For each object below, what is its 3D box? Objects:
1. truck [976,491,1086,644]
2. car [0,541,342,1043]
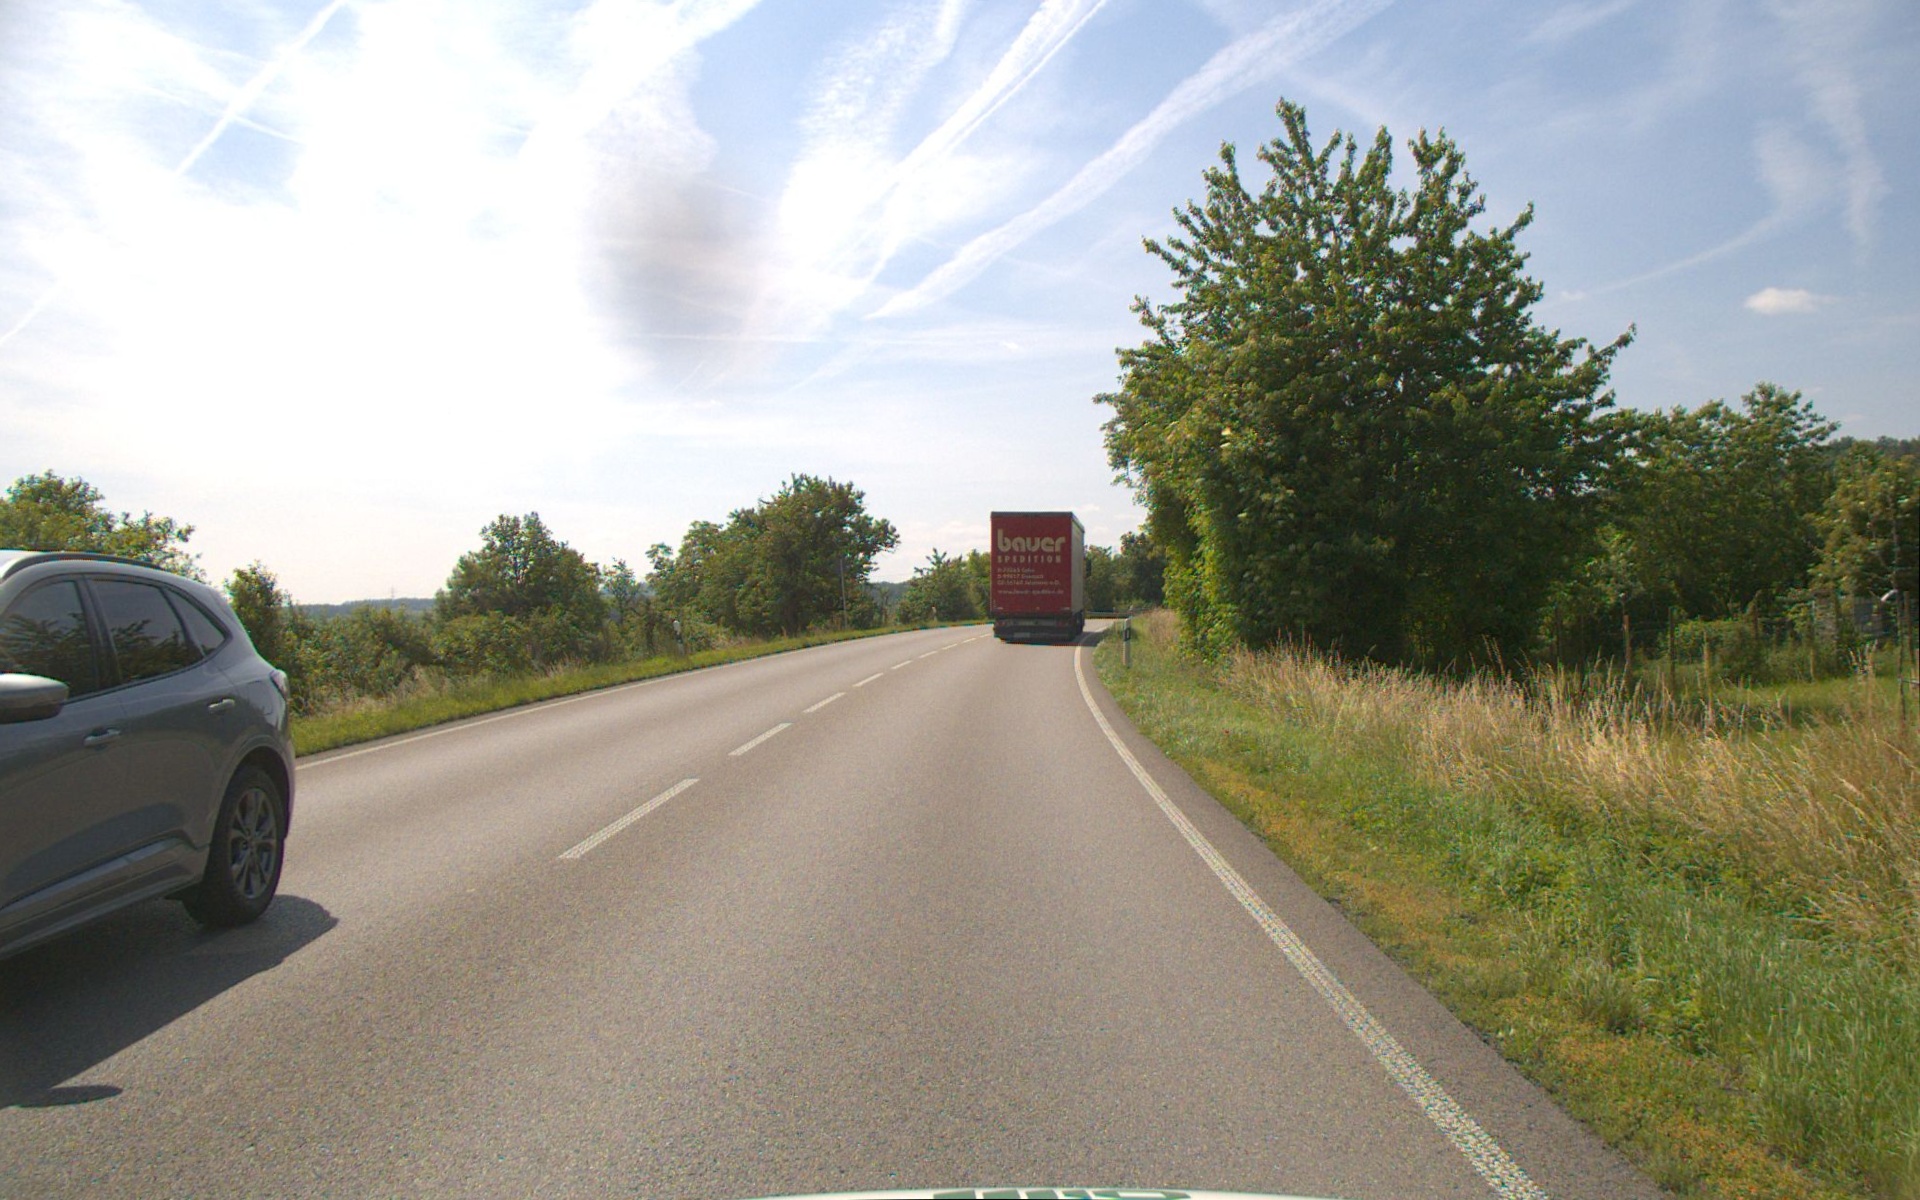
[{"bbox_3d":[2.612,-0.907,56.093,3.046,4.585,12.174,1,-1,5],"label":"truck"},{"bbox_3d":[-4.083,0.631,6.153,1.917,1.633,4.401,0,0,0],"label":"car"}]
